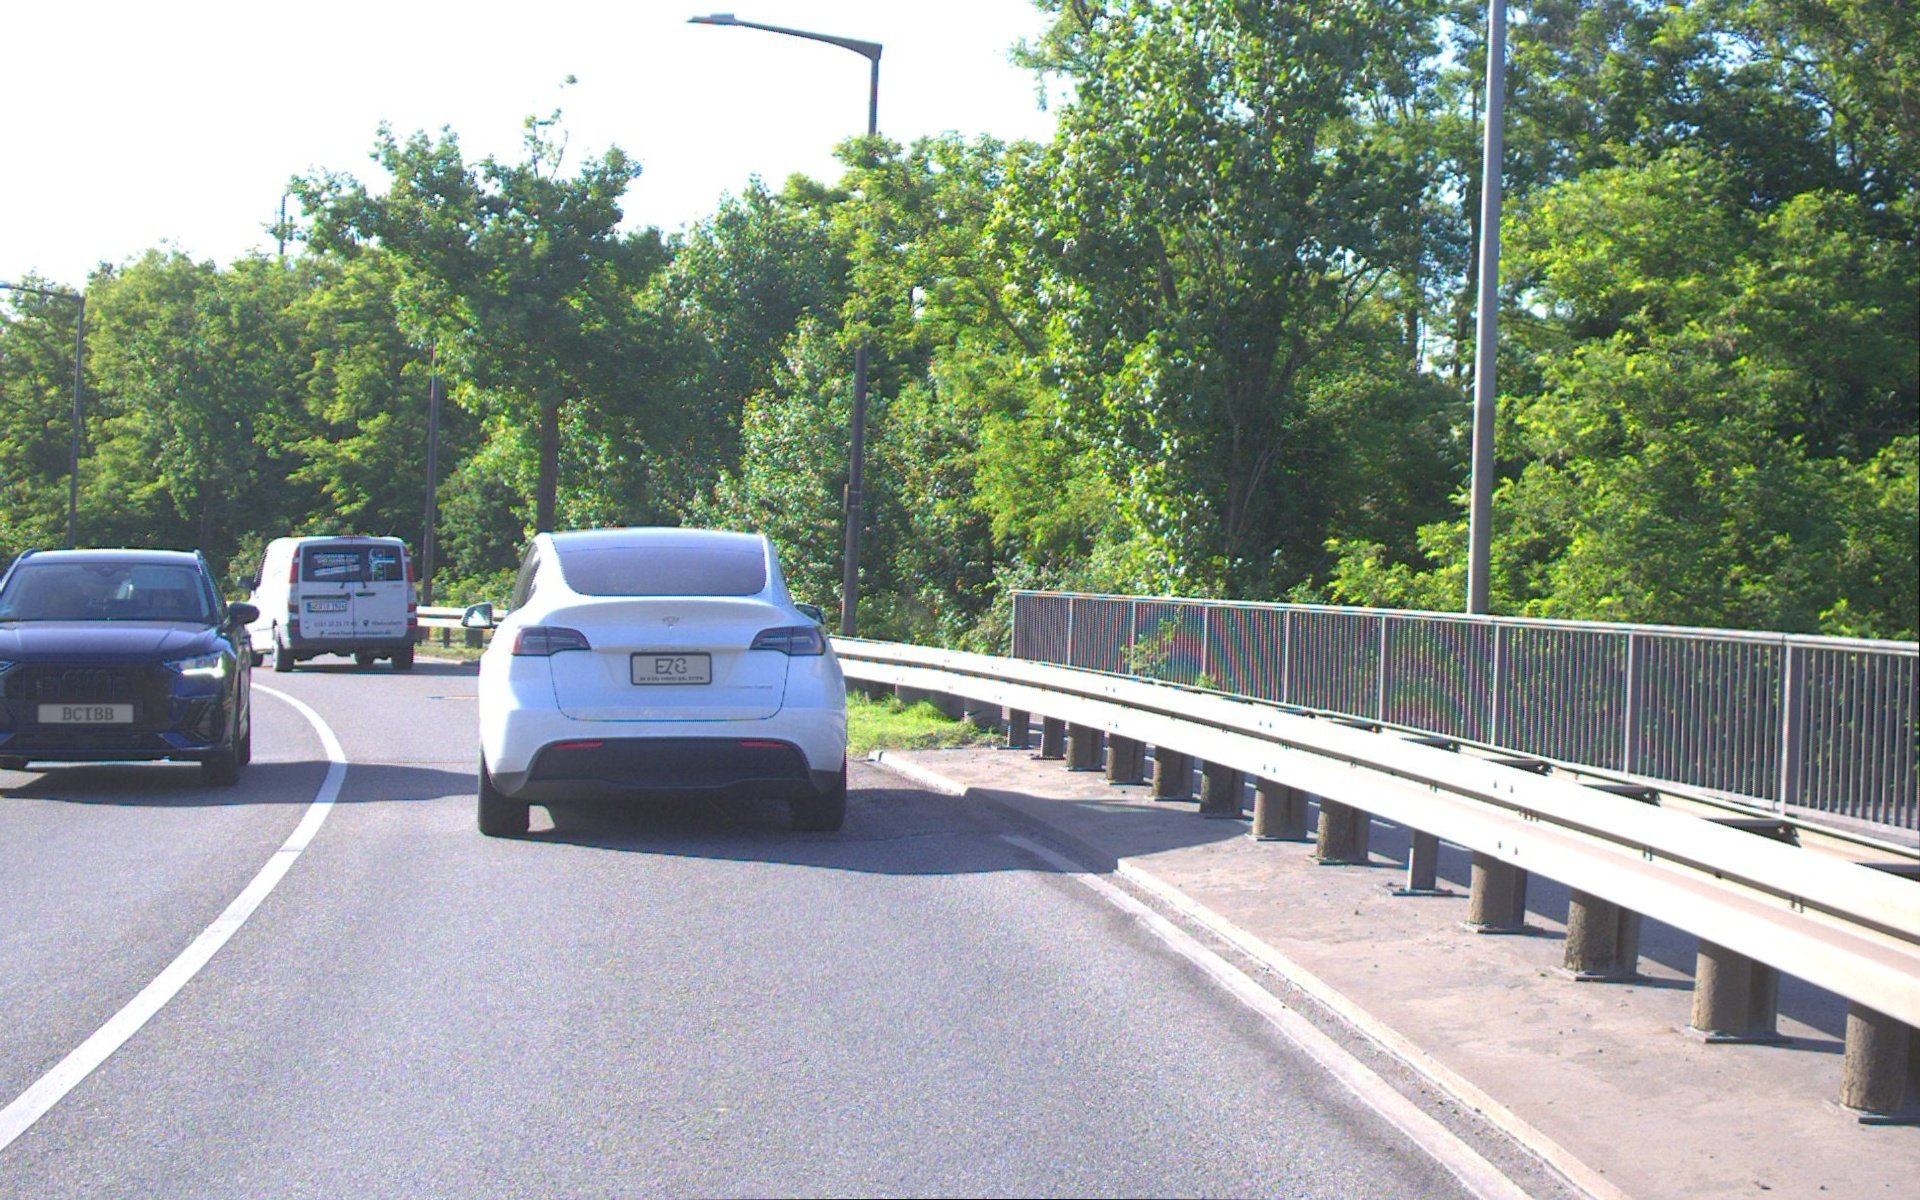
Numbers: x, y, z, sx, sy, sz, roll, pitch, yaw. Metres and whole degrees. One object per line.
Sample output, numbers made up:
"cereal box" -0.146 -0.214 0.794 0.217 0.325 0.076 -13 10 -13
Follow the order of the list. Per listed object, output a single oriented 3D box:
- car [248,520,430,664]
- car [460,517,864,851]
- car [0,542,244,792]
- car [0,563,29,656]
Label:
"car" -8.885 -0.151 48.907 2.004 1.934 4.469 -1 1 -17
"car" -1.755 0.384 19.002 1.985 1.632 4.063 0 1 -8
"car" -5.853 0.381 23.429 1.823 1.546 4.186 0 1 -11
"car" -18.444 0.149 63.120 1.898 1.637 4.464 -1 1 -25
